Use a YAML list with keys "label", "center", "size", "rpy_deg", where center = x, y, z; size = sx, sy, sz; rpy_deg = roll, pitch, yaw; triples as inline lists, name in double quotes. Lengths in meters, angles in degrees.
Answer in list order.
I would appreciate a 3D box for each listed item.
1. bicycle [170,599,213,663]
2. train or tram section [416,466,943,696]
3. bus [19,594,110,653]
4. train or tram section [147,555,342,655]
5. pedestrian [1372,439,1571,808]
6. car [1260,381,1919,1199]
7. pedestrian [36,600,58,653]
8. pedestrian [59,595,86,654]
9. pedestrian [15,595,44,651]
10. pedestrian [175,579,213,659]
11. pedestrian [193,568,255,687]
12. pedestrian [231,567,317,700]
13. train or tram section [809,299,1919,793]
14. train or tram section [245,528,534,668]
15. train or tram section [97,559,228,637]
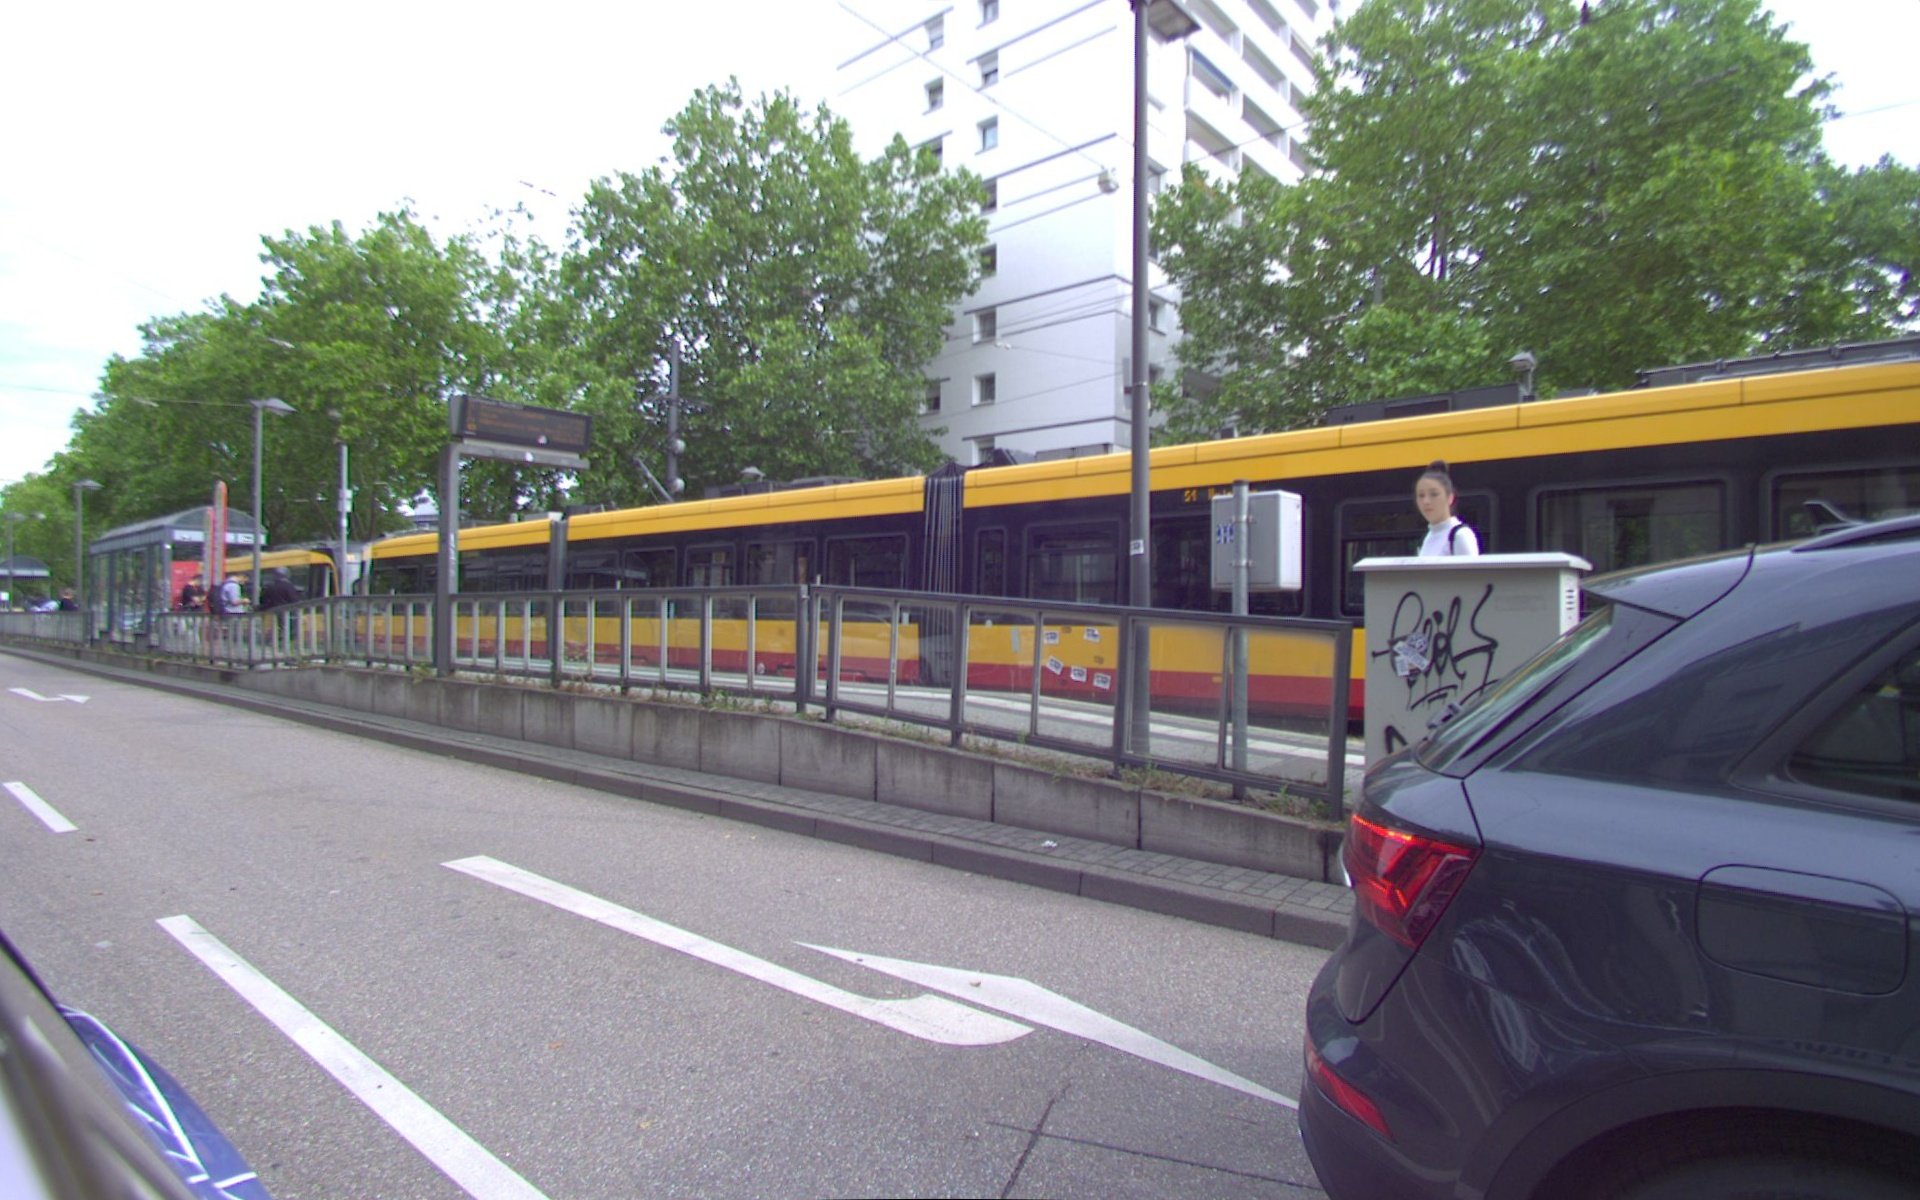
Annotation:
- label: "bicycle"
  center: [-15.288, 0.606, 20.115]
  size: [1.289, 1.231, 0.414]
  rpy_deg: [-1, 0, 41]
- label: "train or tram section"
  center: [-7.053, -0.267, 21.802]
  size: [15.287, 3.558, 3.028]
  rpy_deg: [0, 0, 41]
- label: "bus"
  center: [-32.426, 0.810, 36.610]
  size: [3.998, 2.029, 1.973]
  rpy_deg: [0, 0, 41]
- label: "train or tram section"
  center: [-30.203, 0.201, 42.149]
  size: [15.764, 3.558, 3.028]
  rpy_deg: [0, 0, 41]
- label: "pedestrian"
  center: [2.585, 0.105, 5.106]
  size: [0.730, 1.674, 0.746]
  rpy_deg: [-1, 0, 41]
- label: "car"
  center: [2.760, 0.541, 1.009]
  size: [4.354, 1.613, 1.861]
  rpy_deg: [-1, 0, 40]
- label: "pedestrian"
  center: [-28.988, 0.838, 32.133]
  size: [0.392, 1.645, 0.474]
  rpy_deg: [-1, 0, 42]
- label: "pedestrian"
  center: [-25.317, 0.681, 28.864]
  size: [0.730, 1.645, 0.506]
  rpy_deg: [-1, 0, 42]
- label: "pedestrian"
  center: [-34.258, 0.823, 37.257]
  size: [0.587, 2.029, 0.668]
  rpy_deg: [-1, 0, 38]
- label: "pedestrian"
  center: [-15.977, 0.382, 21.106]
  size: [0.471, 1.645, 0.526]
  rpy_deg: [-1, 0, 39]
- label: "pedestrian"
  center: [-12.914, 0.464, 17.779]
  size: [0.742, 2.029, 0.821]
  rpy_deg: [-1, 0, -26]
- label: "pedestrian"
  center: [-10.737, 0.519, 15.858]
  size: [0.808, 2.029, 0.754]
  rpy_deg: [-1, 0, 4]
- label: "train or tram section"
  center: [4.626, -0.383, 11.543]
  size: [15.841, 3.615, 3.028]
  rpy_deg: [0, 0, 41]
- label: "train or tram section"
  center: [-18.542, -0.019, 31.913]
  size: [15.287, 3.558, 3.028]
  rpy_deg: [0, 0, 41]
- label: "train or tram section"
  center: [-40.813, -0.077, 51.524]
  size: [12.534, 3.588, 3.060]
  rpy_deg: [0, 0, 41]
